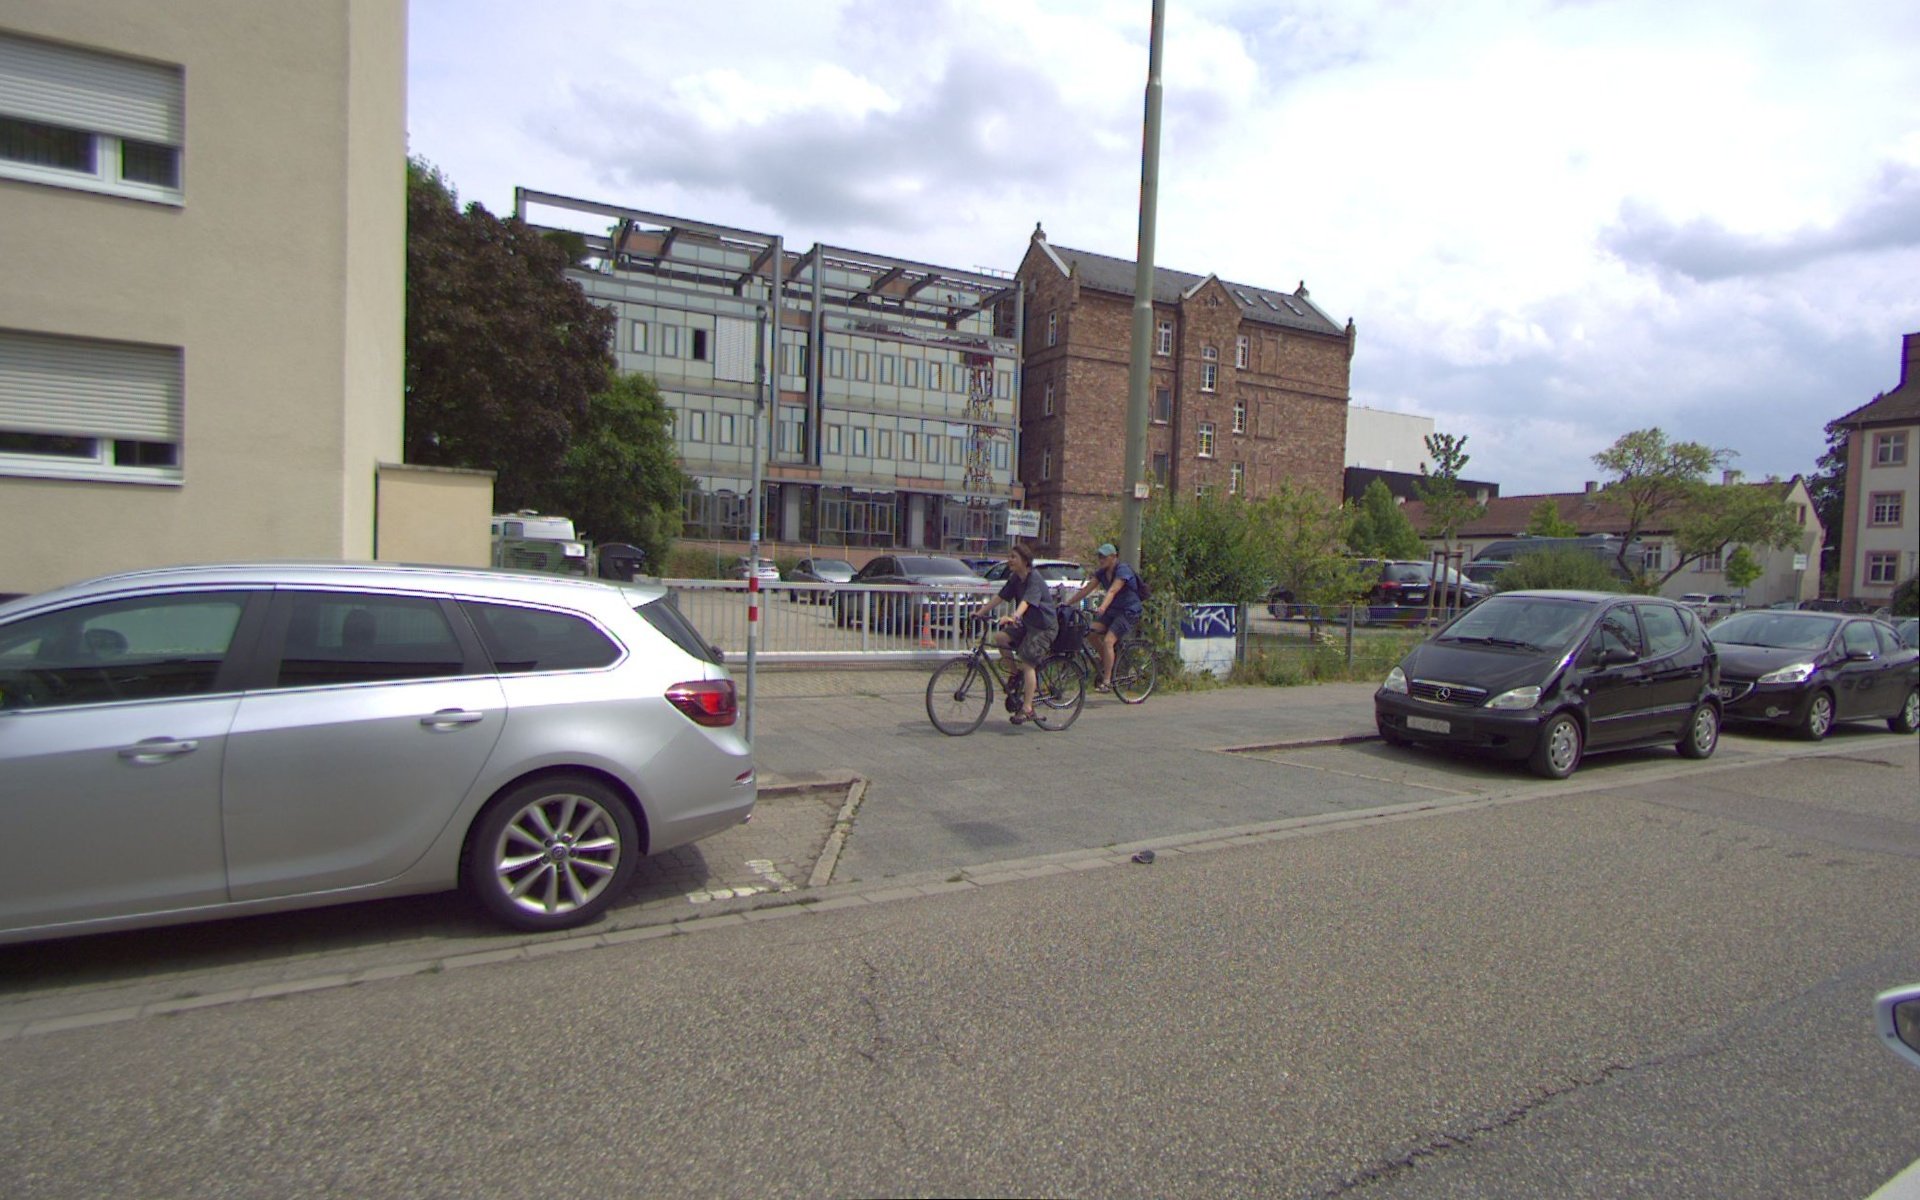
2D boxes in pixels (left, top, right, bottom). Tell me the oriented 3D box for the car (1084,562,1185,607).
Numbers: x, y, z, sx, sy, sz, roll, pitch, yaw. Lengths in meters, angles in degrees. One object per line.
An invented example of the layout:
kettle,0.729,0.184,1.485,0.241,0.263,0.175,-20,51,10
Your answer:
car,6.564,-0.629,38.177,1.596,1.503,4.139,2,2,-27

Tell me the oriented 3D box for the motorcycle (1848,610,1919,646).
motorcycle,32.008,0.946,34.534,0.715,1.157,2.086,1,0,-22

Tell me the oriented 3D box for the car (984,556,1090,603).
car,2.683,-0.762,35.757,1.945,1.503,3.971,2,2,-27

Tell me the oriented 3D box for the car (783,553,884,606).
car,-4.105,-0.677,32.098,1.958,1.503,3.971,2,2,-27

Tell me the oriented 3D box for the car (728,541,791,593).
car,-8.566,-1.368,42.664,1.942,2.041,3.706,1,1,-22

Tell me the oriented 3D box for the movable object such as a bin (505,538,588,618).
movable object such as a bin,-7.852,-0.408,19.062,1.286,1.431,1.239,2,0,-30

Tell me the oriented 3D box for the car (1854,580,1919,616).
car,48.627,-0.132,52.255,3.905,1.734,1.761,-1,3,-26

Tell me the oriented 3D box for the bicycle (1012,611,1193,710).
bicycle,1.640,0.672,11.435,2.057,1.015,0.620,2,3,-30

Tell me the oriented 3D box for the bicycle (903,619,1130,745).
bicycle,0.548,0.727,9.289,2.057,1.015,0.620,2,3,-30

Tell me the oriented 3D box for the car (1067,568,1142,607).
car,7.187,-0.648,50.399,1.702,1.808,4.351,1,1,-23

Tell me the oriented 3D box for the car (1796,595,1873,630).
car,47.630,0.636,54.724,3.905,1.734,1.761,-1,3,-26

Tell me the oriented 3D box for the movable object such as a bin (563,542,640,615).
movable object such as a bin,-7.431,-0.437,20.815,1.286,1.431,1.239,2,0,-30

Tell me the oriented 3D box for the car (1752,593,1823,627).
car,47.054,0.540,57.136,3.647,1.734,1.761,-1,3,-26

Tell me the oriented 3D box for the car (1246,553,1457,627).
car,9.792,-0.320,25.659,1.973,1.696,5.071,1,2,-24

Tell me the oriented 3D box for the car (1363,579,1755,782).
car,5.932,0.676,9.832,3.955,1.596,1.613,1,2,-32

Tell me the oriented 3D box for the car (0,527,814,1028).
car,-3.070,0.542,4.259,4.495,1.585,1.779,1,4,-29

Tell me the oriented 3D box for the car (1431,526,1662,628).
car,16.851,-0.755,29.236,2.323,2.587,5.293,1,4,-25

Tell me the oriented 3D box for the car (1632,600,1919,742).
car,10.611,0.826,12.781,3.997,1.490,1.680,1,2,-28

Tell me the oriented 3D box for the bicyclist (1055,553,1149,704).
bicyclist,1.602,0.310,11.382,0.757,1.629,0.611,1,3,-30

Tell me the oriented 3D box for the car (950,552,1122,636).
car,1.443,-0.172,20.738,1.971,1.503,3.979,2,2,-21

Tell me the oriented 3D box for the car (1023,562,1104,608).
car,5.083,-0.758,50.103,2.173,2.165,4.351,1,1,-23

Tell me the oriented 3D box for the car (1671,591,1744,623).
car,45.153,0.398,60.680,4.233,1.734,1.761,-1,3,-26

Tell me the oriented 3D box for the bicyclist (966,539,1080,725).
bicyclist,0.575,0.279,9.277,0.757,1.629,0.611,1,3,-30

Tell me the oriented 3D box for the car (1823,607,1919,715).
car,15.292,0.900,15.481,4.212,1.477,1.679,1,2,-30

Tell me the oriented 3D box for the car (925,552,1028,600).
car,0.500,-0.852,34.413,1.834,1.503,3.971,2,2,-27

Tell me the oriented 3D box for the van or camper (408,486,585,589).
van or camper,-14.409,-1.878,31.380,4.838,2.911,1.986,1,2,-27

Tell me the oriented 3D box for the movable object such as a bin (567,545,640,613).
movable object such as a bin,-7.863,-0.449,22.128,1.286,1.431,1.239,2,0,-30

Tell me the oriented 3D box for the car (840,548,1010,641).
car,-0.789,-0.162,18.935,1.971,1.503,3.979,2,2,-21

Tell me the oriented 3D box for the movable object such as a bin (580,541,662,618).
movable object such as a bin,-6.640,-0.383,19.646,1.286,1.431,1.239,2,0,-30

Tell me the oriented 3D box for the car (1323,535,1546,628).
car,12.258,-0.502,26.392,2.197,2.179,5.071,1,1,-24
